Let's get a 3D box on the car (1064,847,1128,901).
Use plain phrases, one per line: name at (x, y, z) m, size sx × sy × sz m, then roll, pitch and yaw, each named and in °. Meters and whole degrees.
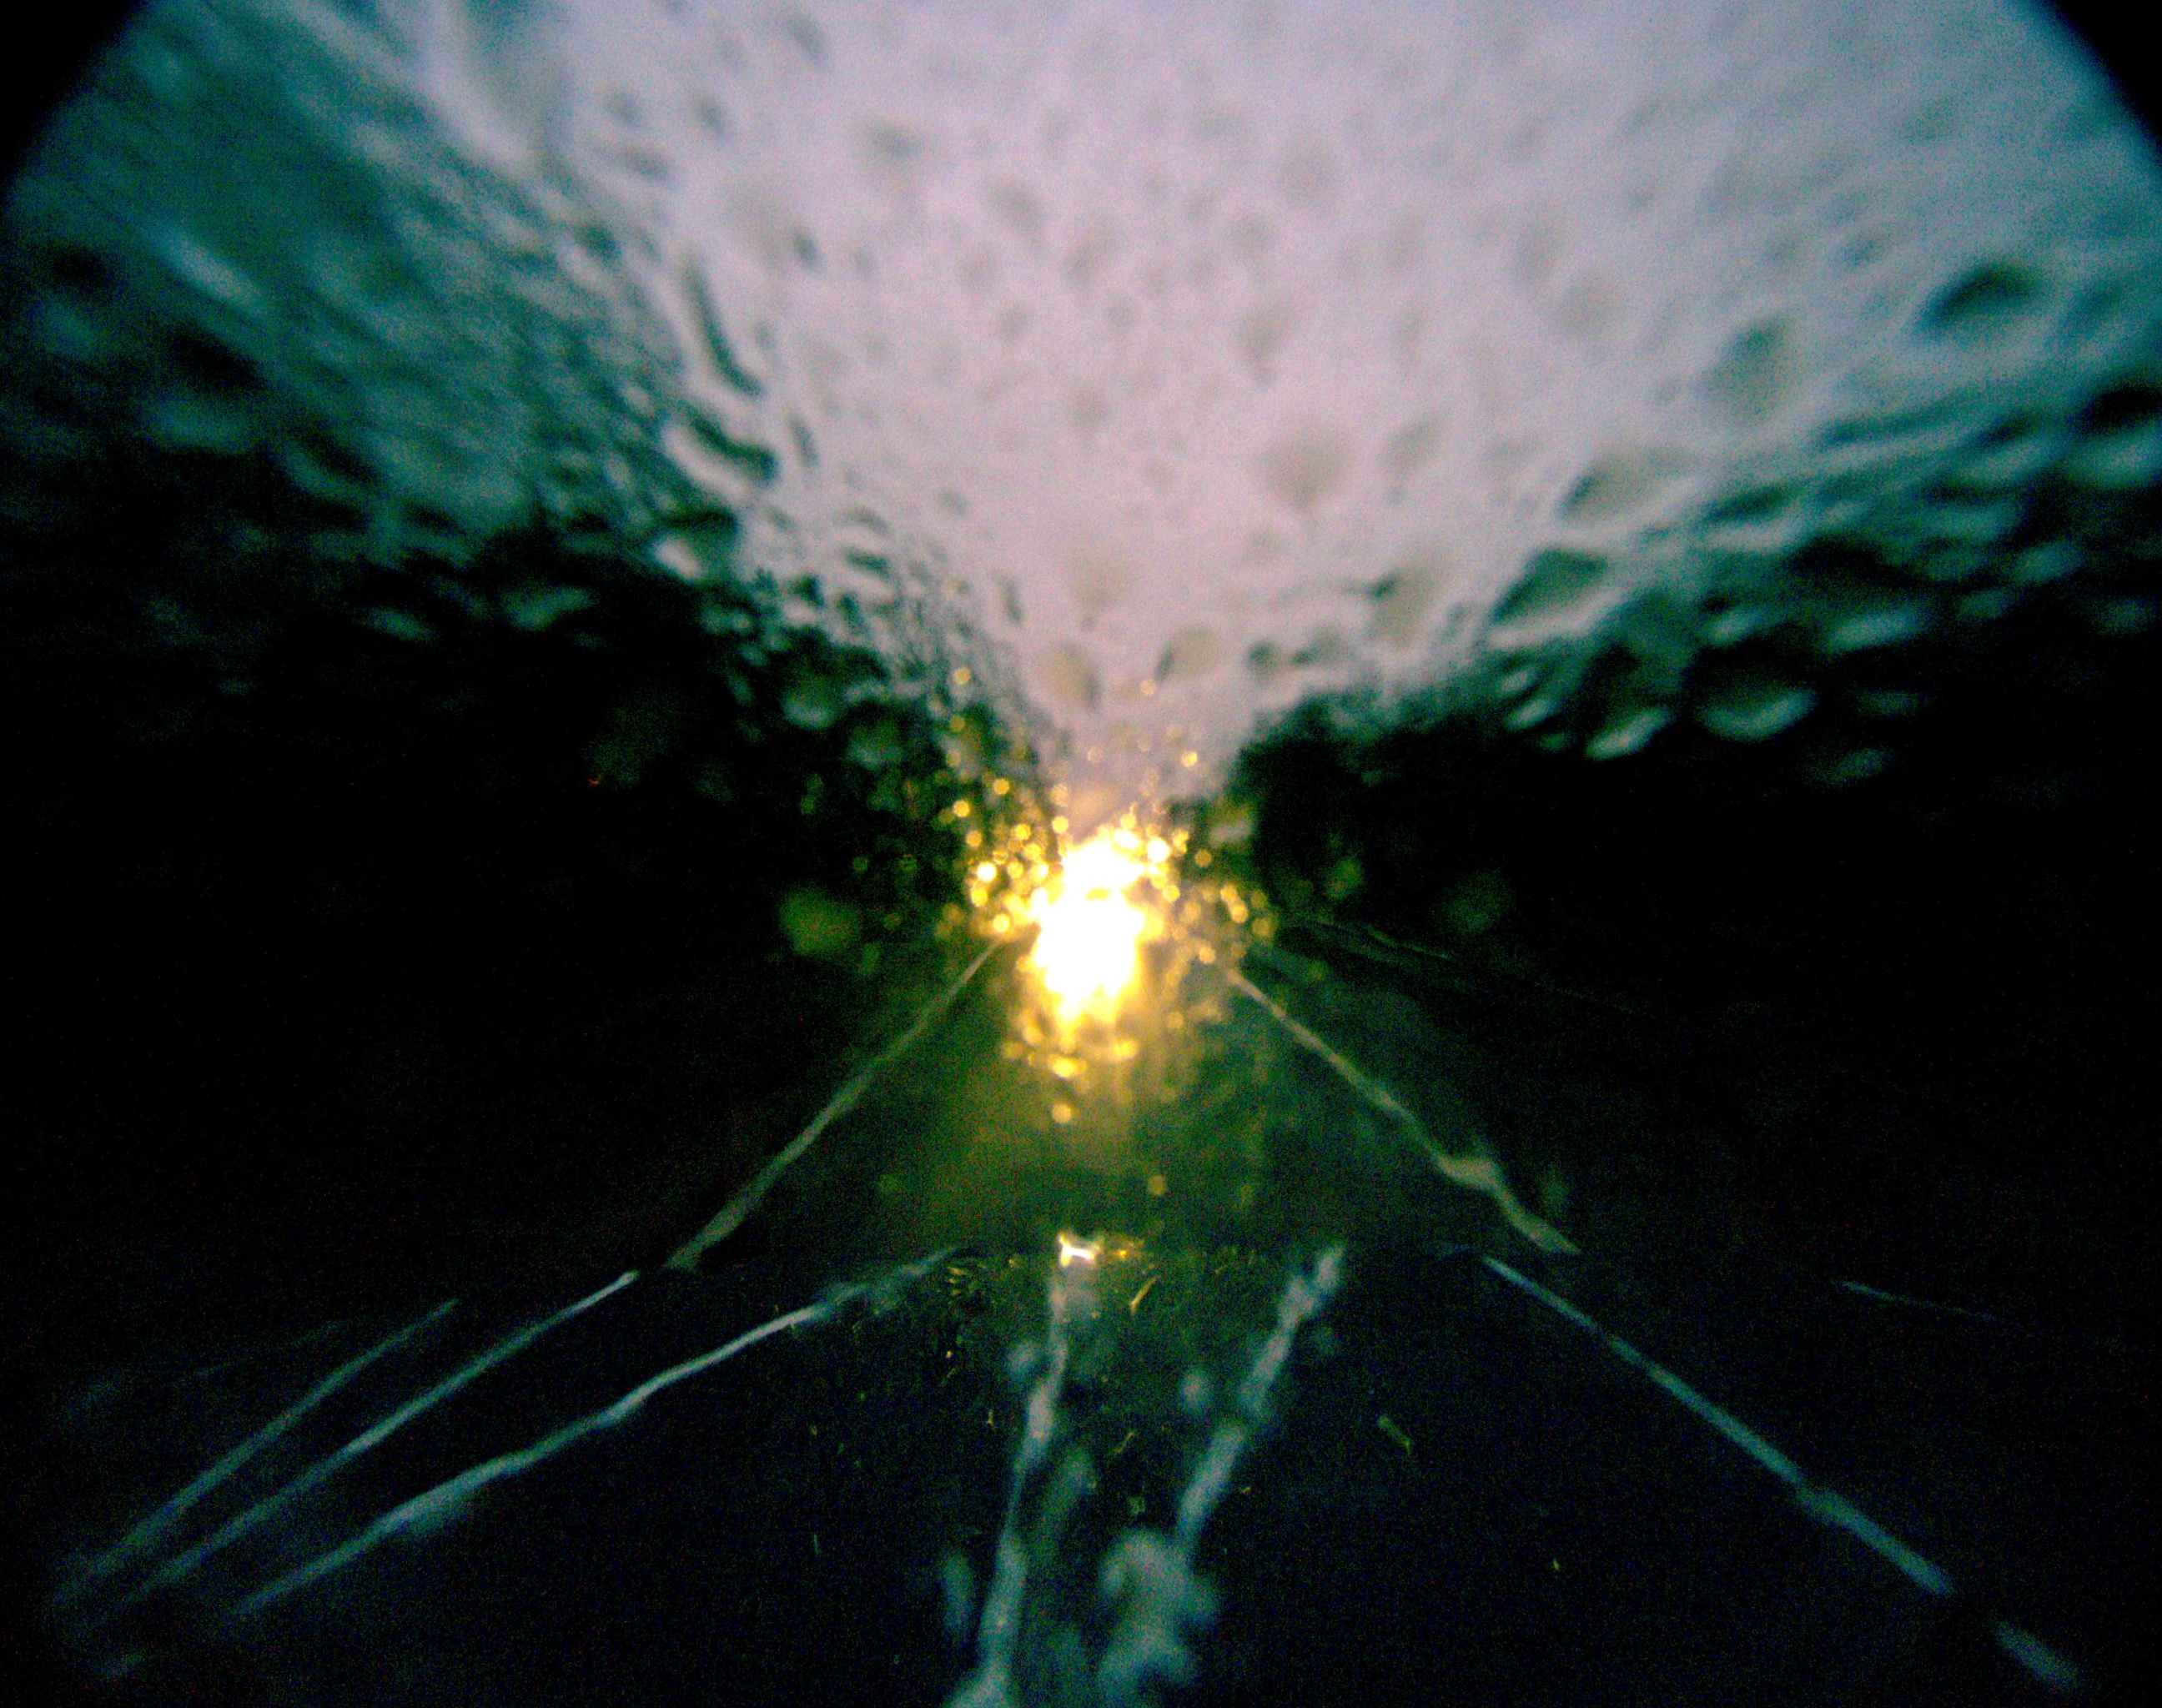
car at (0.491, 0.654, 26.683) m, size 1.998 × 1.672 × 4.000 m, roll -2°, pitch 0°, yaw 0°
